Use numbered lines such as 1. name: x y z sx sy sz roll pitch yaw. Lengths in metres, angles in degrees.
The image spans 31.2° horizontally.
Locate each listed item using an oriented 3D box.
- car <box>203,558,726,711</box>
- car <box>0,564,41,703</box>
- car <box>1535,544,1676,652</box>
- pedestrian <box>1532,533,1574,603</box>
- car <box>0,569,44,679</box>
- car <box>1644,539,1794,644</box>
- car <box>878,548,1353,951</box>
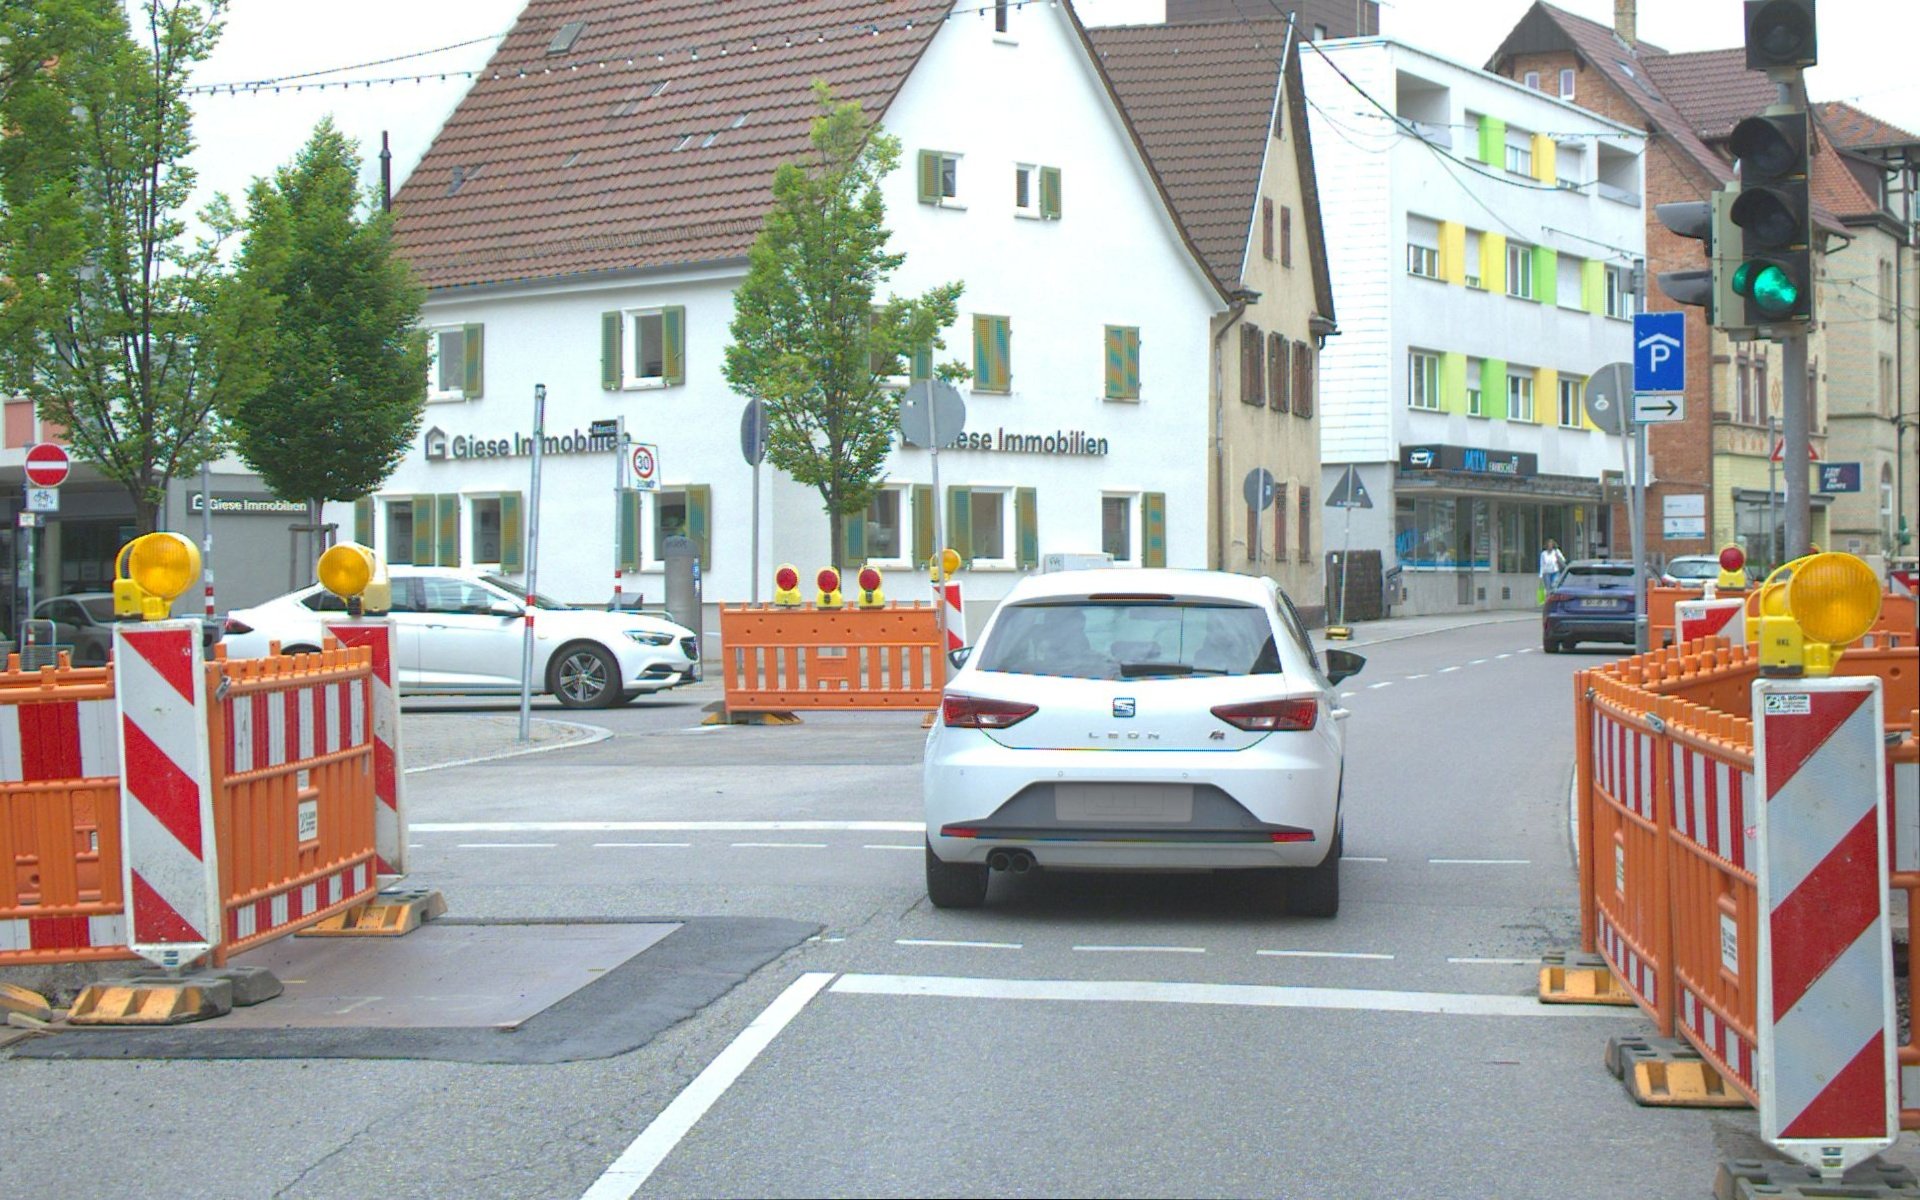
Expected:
1. car: -4.979 0.323 35.034 4.903 1.471 2.249 0 1 4
2. car: -12.693 0.342 40.240 2.015 1.552 4.918 -1 1 -37
3. car: 9.777 -0.058 51.895 1.813 1.475 3.868 -1 2 15
4. pedestrian: 14.072 -0.764 81.609 0.893 1.659 0.861 -1 1 14
5. car: -15.642 0.315 50.707 2.016 1.552 4.916 -1 2 -43
6. car: 15.039 -0.192 67.993 1.996 2.007 3.995 0 1 26
7. car: 0.827 0.560 15.553 1.812 1.475 3.870 2 2 7
